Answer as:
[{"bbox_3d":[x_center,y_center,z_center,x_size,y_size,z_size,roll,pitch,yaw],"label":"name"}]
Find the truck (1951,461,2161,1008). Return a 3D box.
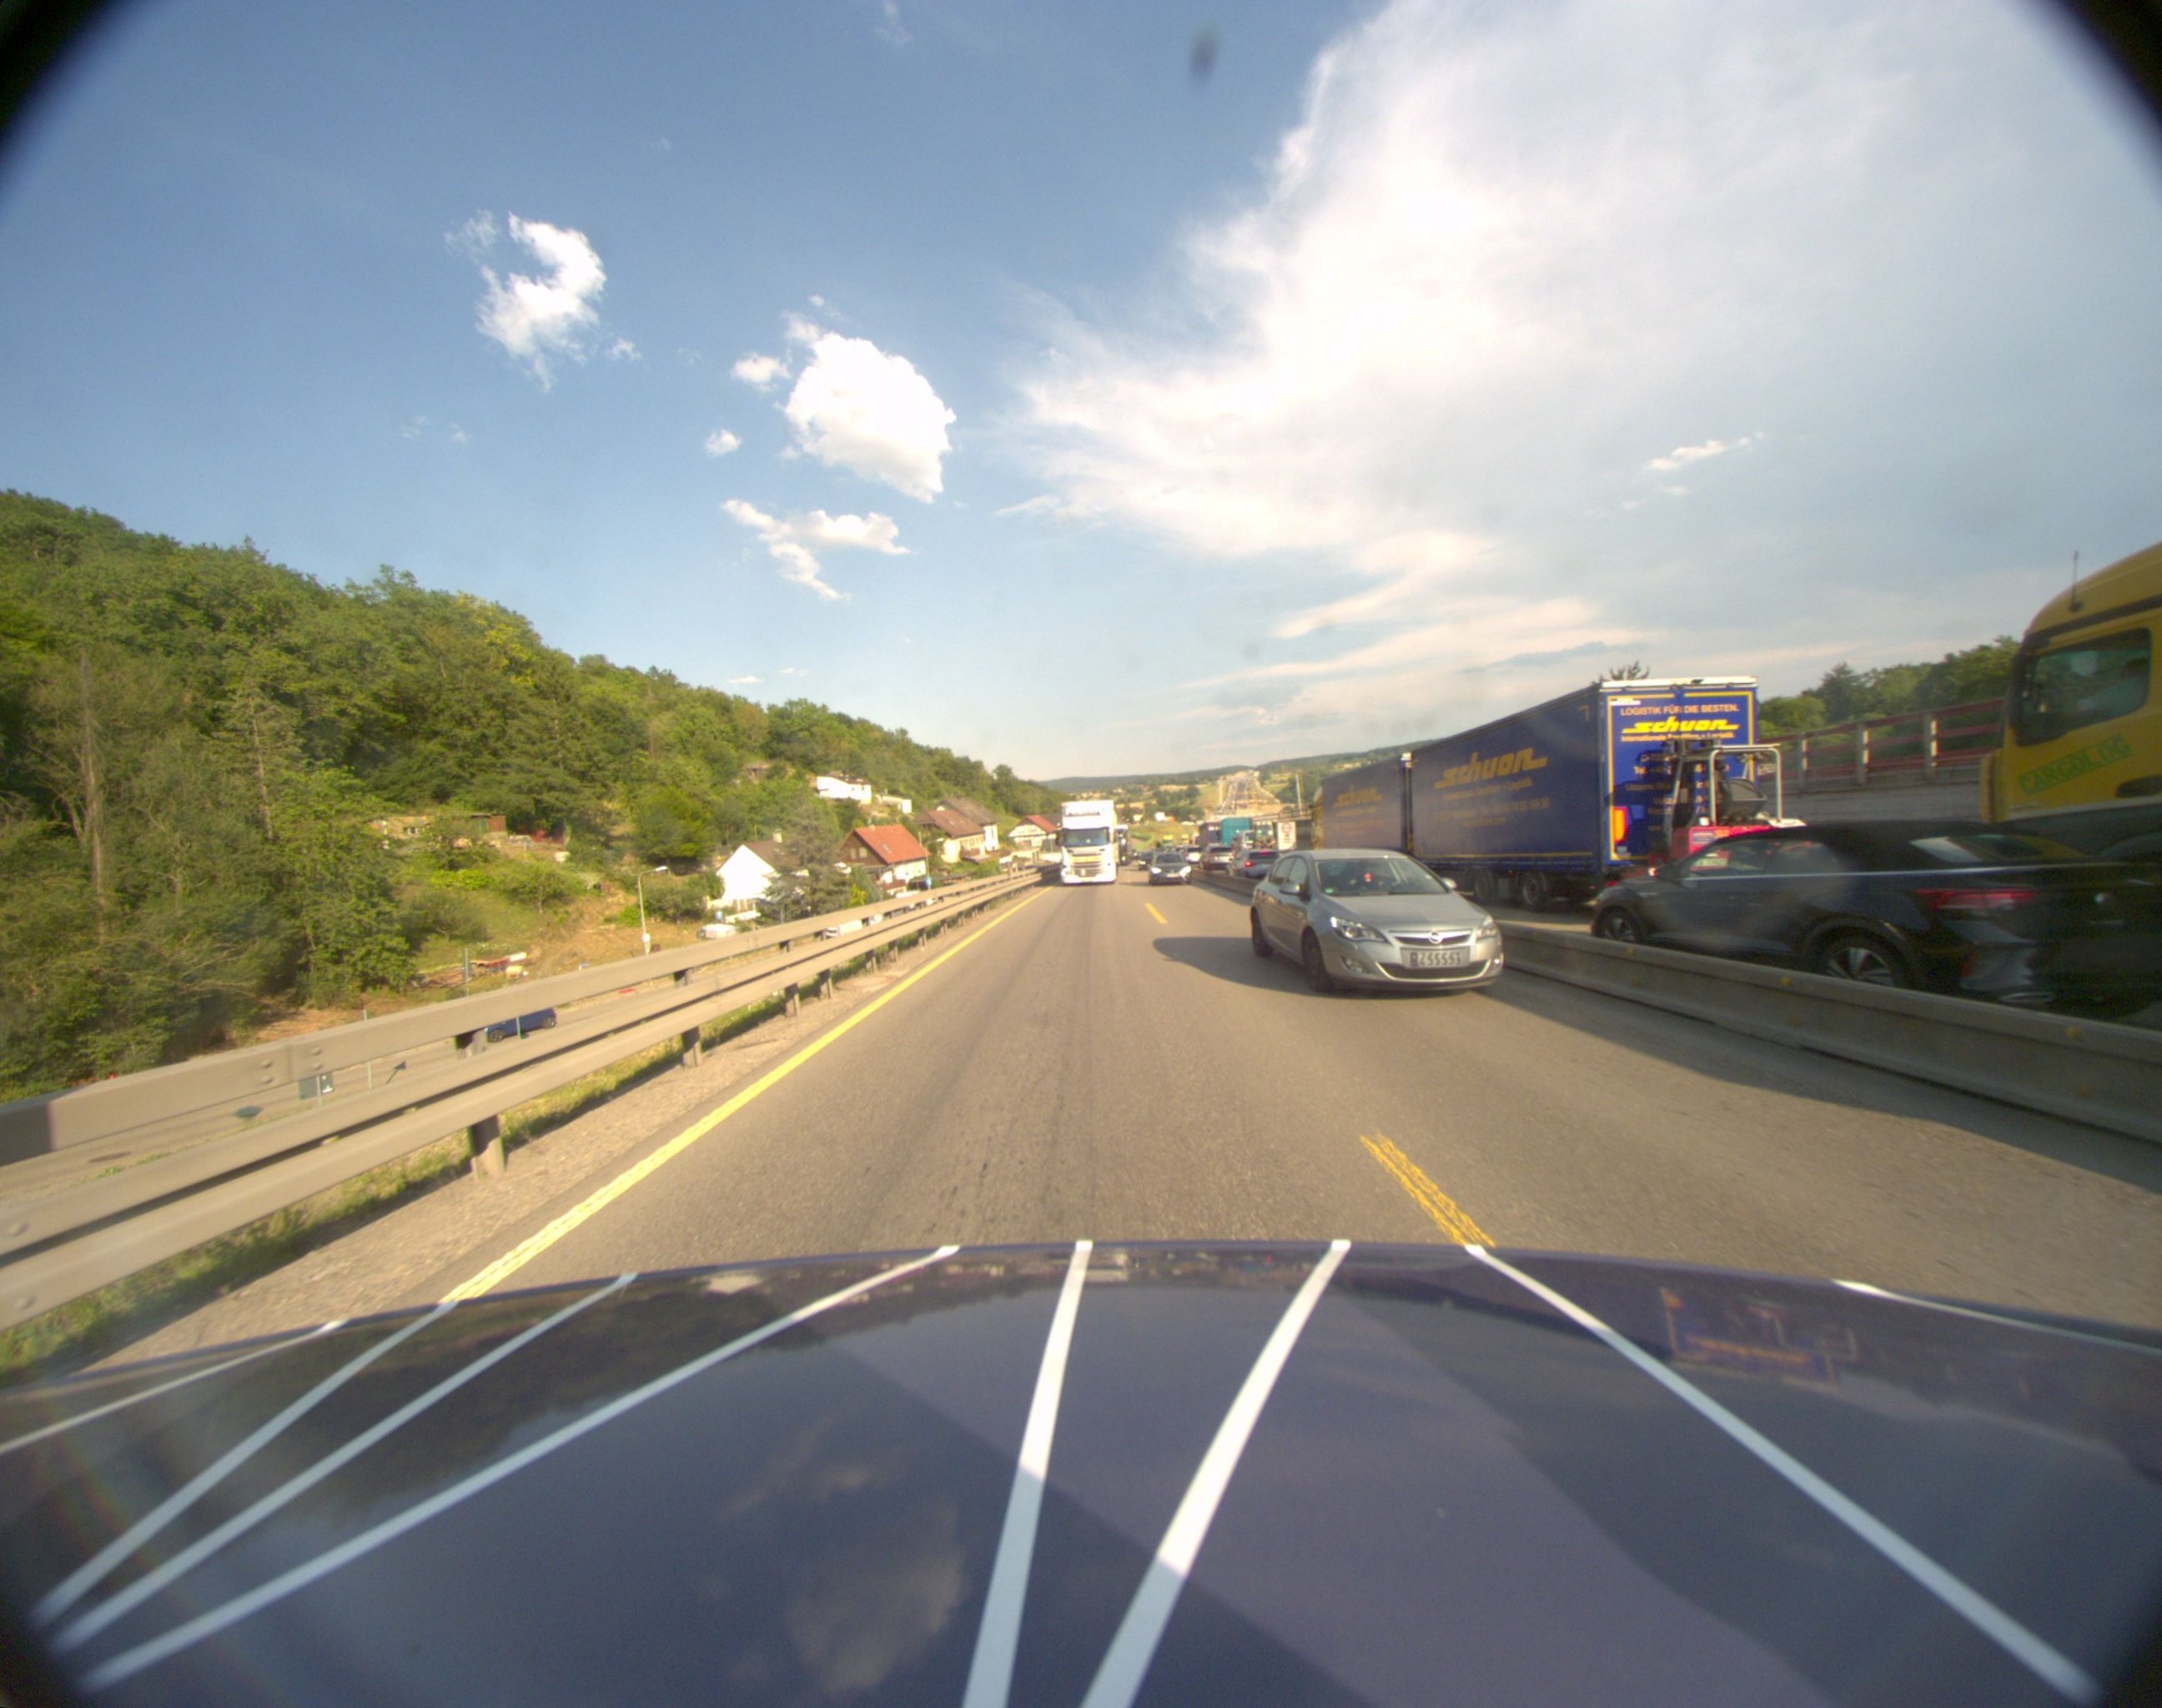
[{"bbox_3d":[9.617,-0.917,5.004,2.700,4.173,4.397,-1,2,1],"label":"truck"}]

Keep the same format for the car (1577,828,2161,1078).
[{"bbox_3d":[6.637,0.556,6.765,1.720,1.499,4.291,-1,1,2],"label":"car"}]

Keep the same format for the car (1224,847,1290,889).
[{"bbox_3d":[7.161,0.521,31.425,1.792,1.489,4.724,-1,1,2],"label":"car"}]

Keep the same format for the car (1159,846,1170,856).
[{"bbox_3d":[15.478,-0.615,140.770,1.770,1.542,4.480,-3,2,7],"label":"car"}]

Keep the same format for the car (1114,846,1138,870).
[{"bbox_3d":[4.068,0.311,69.434,1.998,2.002,3.999,-1,1,1],"label":"car"}]

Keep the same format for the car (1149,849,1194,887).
[{"bbox_3d":[3.941,0.574,33.557,1.822,1.433,4.001,-3,0,5],"label":"car"}]

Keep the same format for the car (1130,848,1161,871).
[{"bbox_3d":[4.695,0.372,56.041,1.998,1.565,3.999,-1,1,1],"label":"car"}]

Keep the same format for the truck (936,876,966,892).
[{"bbox_3d":[-16.599,3.787,96.886,2.002,1.729,3.990,-11,5,-37],"label":"truck"}]

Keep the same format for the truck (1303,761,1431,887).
[{"bbox_3d":[10.415,-1.064,28.277,2.707,4.117,5.793,-1,2,2],"label":"truck"}]

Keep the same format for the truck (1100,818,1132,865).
[{"bbox_3d":[3.717,-1.253,78.590,2.787,4.505,7.192,-3,0,5],"label":"truck"}]

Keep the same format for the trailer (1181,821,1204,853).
[{"bbox_3d":[16.238,-2.542,111.215,2.917,4.440,7.154,-2,1,6],"label":"trailer"}]

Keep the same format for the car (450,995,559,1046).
[{"bbox_3d":[-27.065,7.798,35.824,1.770,1.588,3.622,-5,-1,20],"label":"car"}]

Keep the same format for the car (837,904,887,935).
[{"bbox_3d":[-19.244,5.727,67.015,1.865,1.975,5.054,-1,3,13],"label":"car"}]

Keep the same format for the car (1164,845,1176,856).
[{"bbox_3d":[15.294,-0.656,130.560,1.866,1.577,4.746,-5,2,7],"label":"car"}]

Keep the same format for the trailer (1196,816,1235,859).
[{"bbox_3d":[13.949,-1.723,79.630,2.721,4.099,12.494,0,1,4],"label":"trailer"}]

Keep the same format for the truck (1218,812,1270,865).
[{"bbox_3d":[12.246,-1.151,57.636,2.755,3.784,7.112,0,1,4],"label":"truck"}]

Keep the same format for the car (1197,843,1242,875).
[{"bbox_3d":[8.044,0.234,44.394,1.931,1.692,4.691,-1,1,2],"label":"car"}]

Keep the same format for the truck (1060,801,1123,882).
[{"bbox_3d":[0.907,-0.801,45.699,2.891,4.059,13.893,-1,1,4],"label":"truck"}]

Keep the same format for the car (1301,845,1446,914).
[{"bbox_3d":[6.928,0.573,18.569,1.801,1.444,4.616,-1,-1,1],"label":"car"}]

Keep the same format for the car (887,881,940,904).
[{"bbox_3d":[-19.118,4.401,86.887,5.475,2.251,2.001,-3,3,12],"label":"car"}]

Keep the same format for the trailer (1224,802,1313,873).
[{"bbox_3d":[11.717,-1.018,49.338,2.755,3.794,16.048,0,1,4],"label":"trailer"}]

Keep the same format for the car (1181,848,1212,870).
[{"bbox_3d":[9.438,0.362,62.346,1.964,1.635,4.848,-1,1,2],"label":"car"}]

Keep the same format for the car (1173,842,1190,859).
[{"bbox_3d":[12.325,-0.500,93.382,1.827,1.922,5.130,1,2,4],"label":"car"}]

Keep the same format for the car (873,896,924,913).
[{"bbox_3d":[-20.036,5.502,83.388,5.098,1.548,1.716,-2,3,12],"label":"car"}]

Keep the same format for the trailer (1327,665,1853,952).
[{"bbox_3d":[10.121,-0.849,19.440,2.721,4.111,16.750,-1,1,2],"label":"trailer"}]

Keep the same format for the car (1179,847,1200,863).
[{"bbox_3d":[11.264,0.106,79.136,1.807,1.513,4.817,0,1,5],"label":"car"}]

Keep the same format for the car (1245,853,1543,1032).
[{"bbox_3d":[3.186,0.774,8.724,1.810,1.478,4.118,-2,1,2],"label":"car"}]
